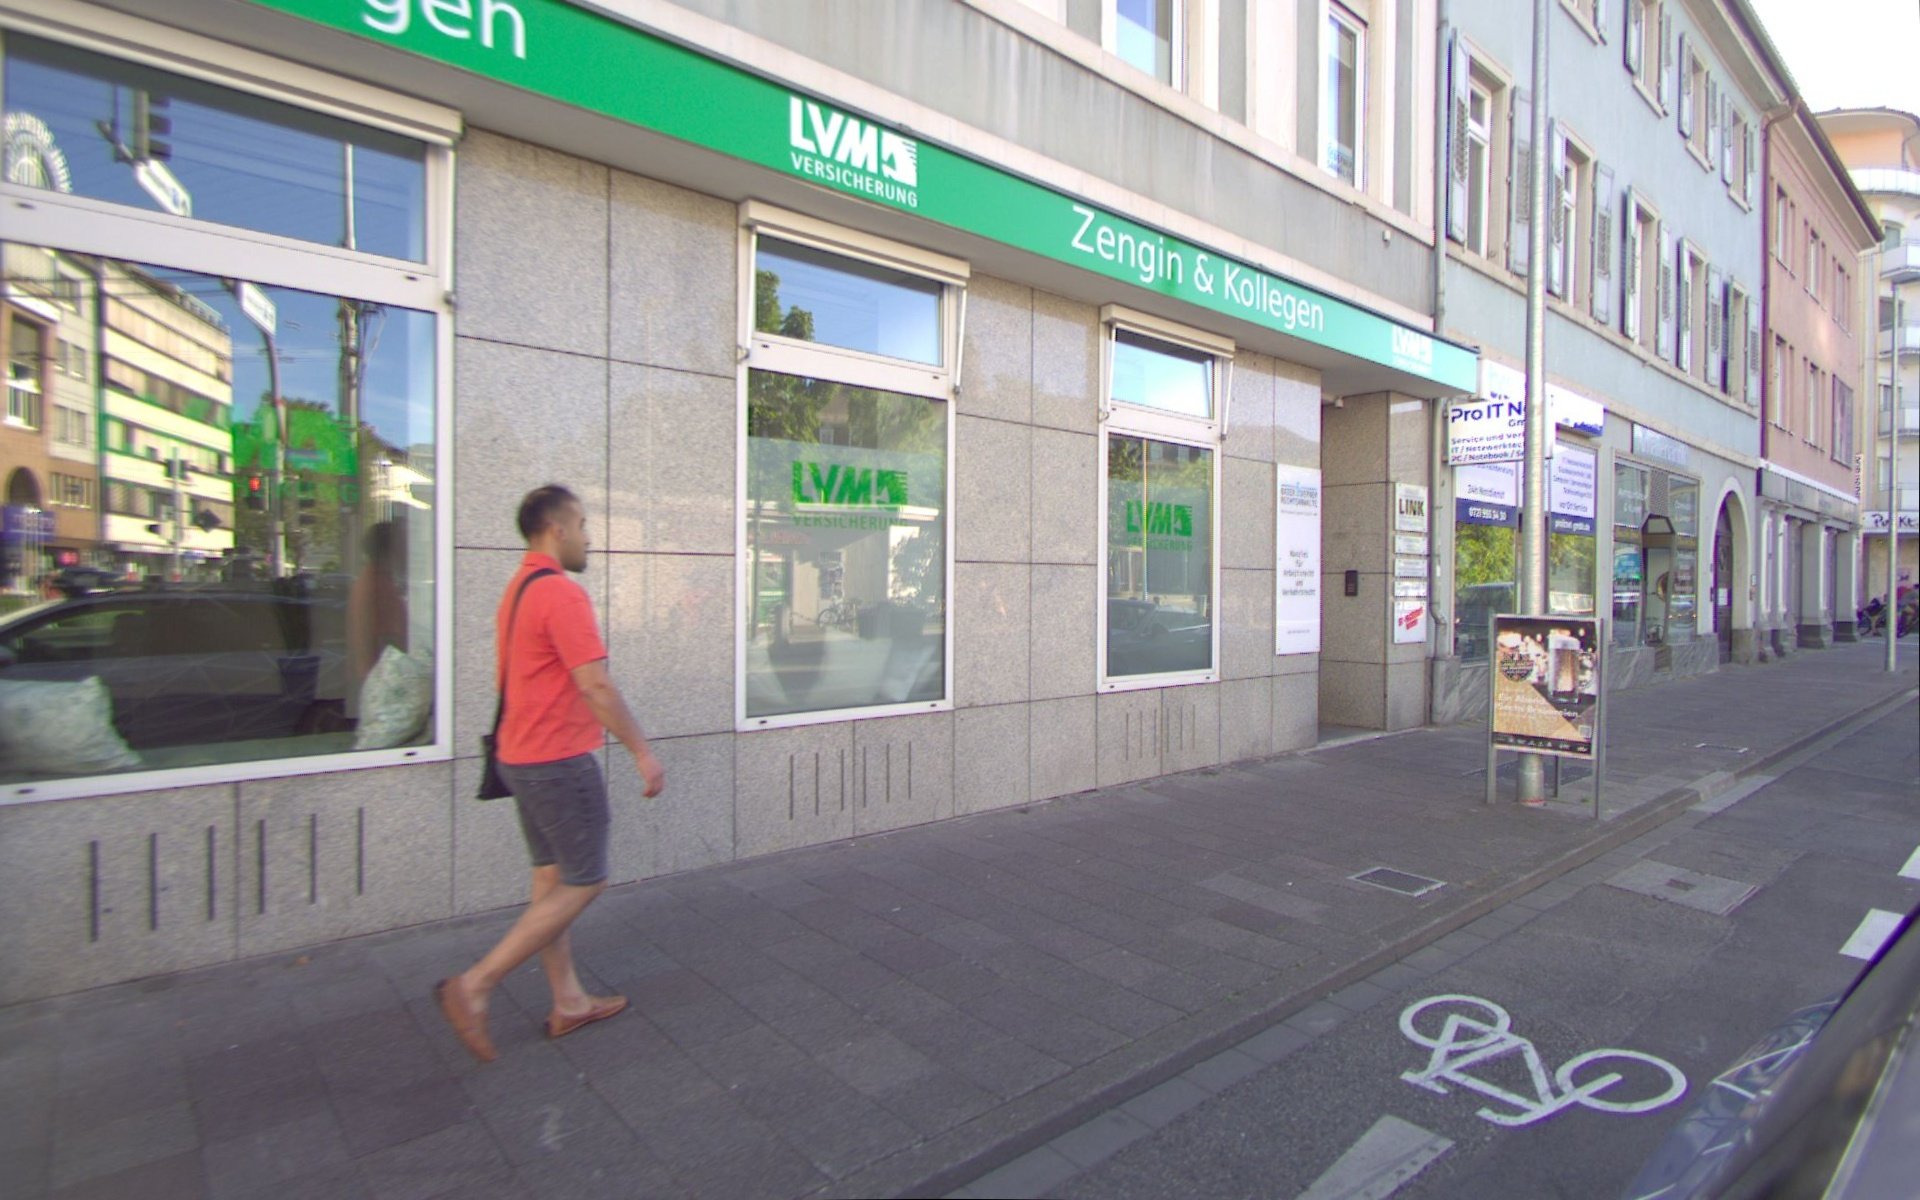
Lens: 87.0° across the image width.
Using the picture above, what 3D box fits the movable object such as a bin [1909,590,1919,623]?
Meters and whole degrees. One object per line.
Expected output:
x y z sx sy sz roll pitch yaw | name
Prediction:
32.872 0.230 34.406 0.610 1.126 0.809 0 1 -42 | movable object such as a bin

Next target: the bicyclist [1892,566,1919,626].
28.831 -0.107 30.332 1.131 1.783 0.746 0 0 28 | bicyclist

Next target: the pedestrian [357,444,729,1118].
-1.291 0.454 3.139 0.896 1.724 0.691 0 1 -40 | pedestrian

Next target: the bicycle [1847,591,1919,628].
29.155 0.279 31.743 0.718 1.110 1.924 0 0 -19 | bicycle

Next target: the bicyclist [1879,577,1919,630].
29.332 0.106 31.376 0.711 1.603 1.033 0 0 -18 | bicyclist

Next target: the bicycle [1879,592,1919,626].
28.816 0.256 30.323 1.805 1.006 0.559 0 0 29 | bicycle
